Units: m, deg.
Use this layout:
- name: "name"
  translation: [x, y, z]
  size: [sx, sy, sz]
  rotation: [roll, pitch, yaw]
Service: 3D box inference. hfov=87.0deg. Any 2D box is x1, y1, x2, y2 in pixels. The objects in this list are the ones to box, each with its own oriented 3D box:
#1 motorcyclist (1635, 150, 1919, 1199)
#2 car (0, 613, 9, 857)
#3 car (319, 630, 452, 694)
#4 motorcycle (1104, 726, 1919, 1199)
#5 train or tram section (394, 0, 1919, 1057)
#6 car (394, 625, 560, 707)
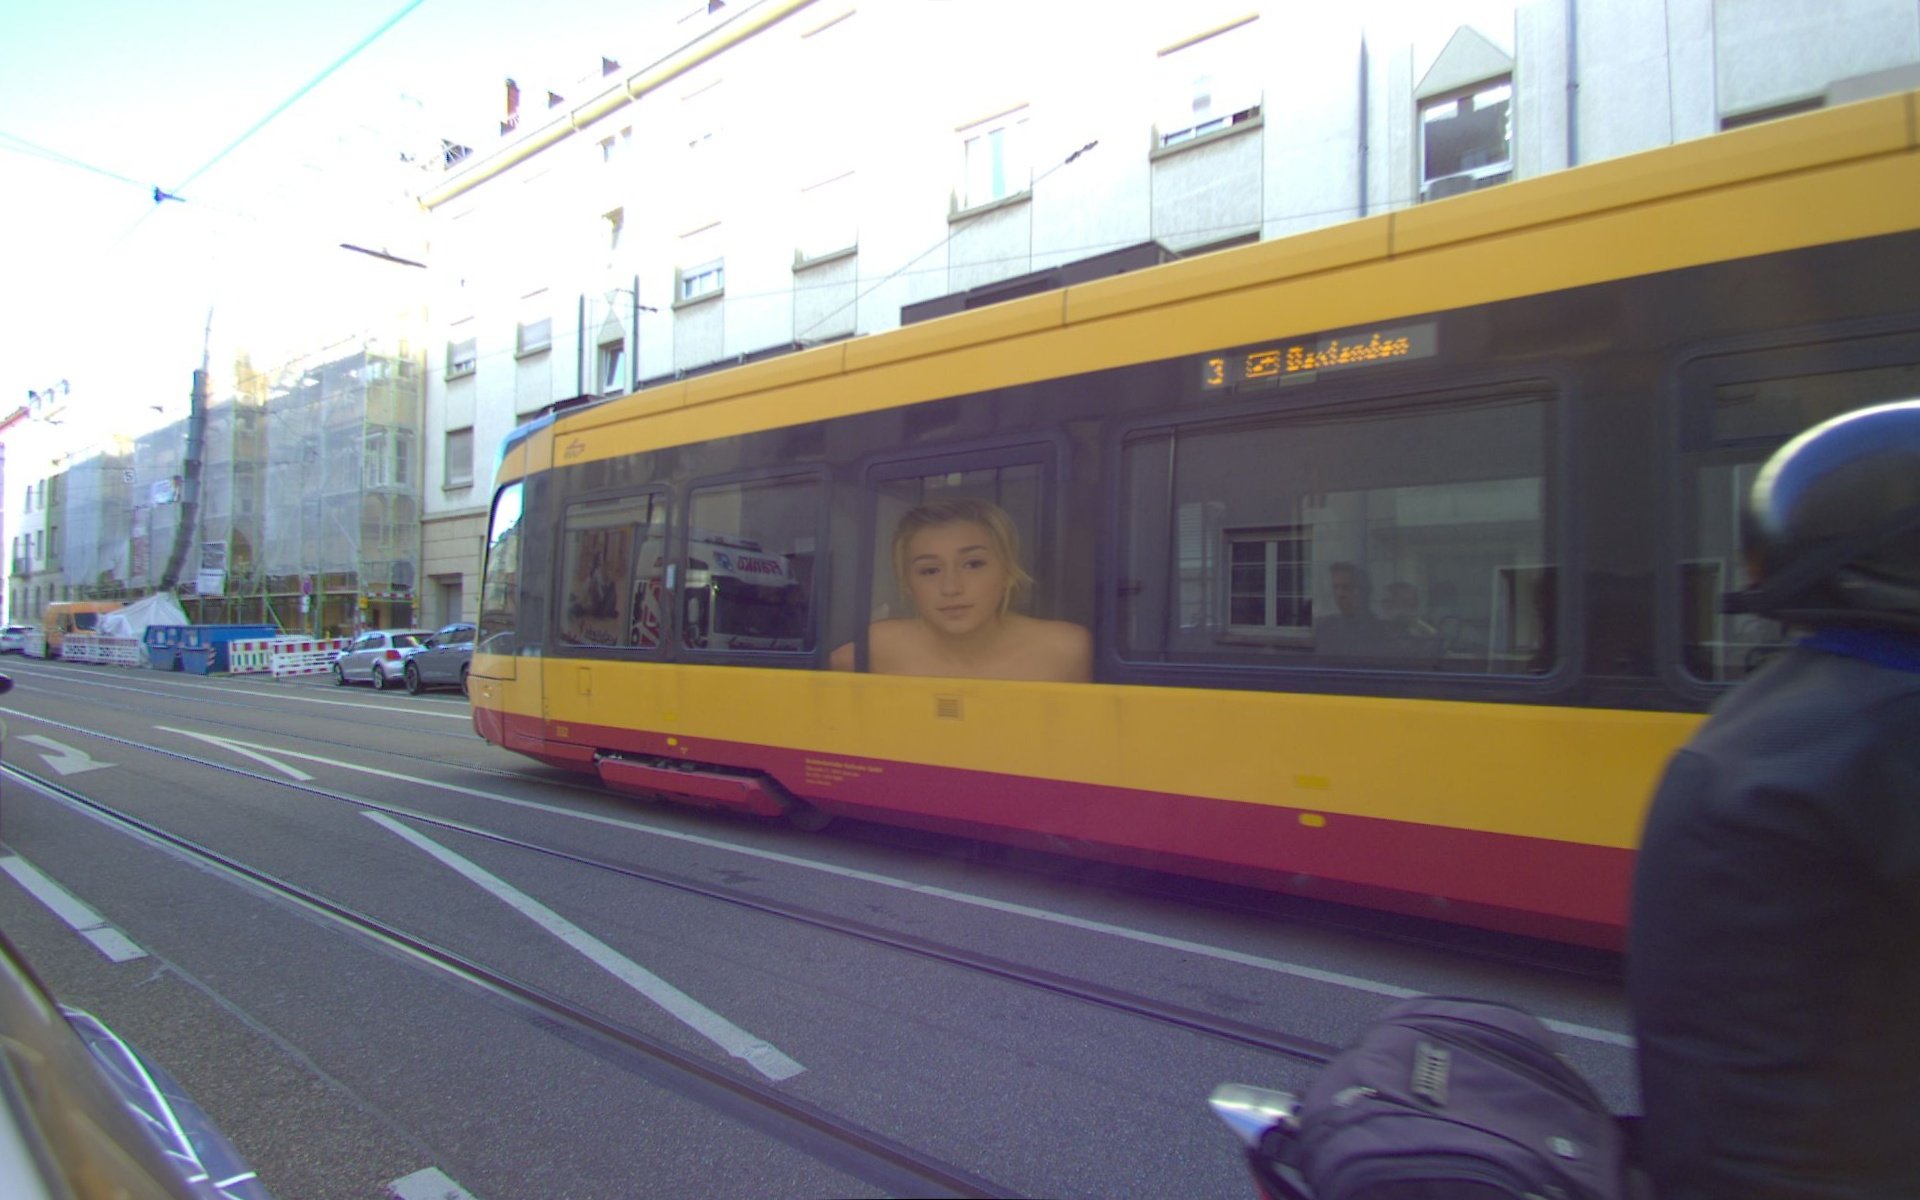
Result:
- name: "motorcyclist"
  translation: [1.055, 0.439, 0.941]
  size: [0.598, 1.516, 0.851]
  rotation: [-1, 0, 41]
- name: "car"
  translation: [-8.006, 0.857, 6.960]
  size: [3.997, 1.515, 1.670]
  rotation: [-2, -3, 40]
- name: "car"
  translation: [-14.485, 1.501, 25.455]
  size: [3.639, 1.402, 1.617]
  rotation: [-1, 0, 37]
- name: "motorcycle"
  translation: [1.099, 0.811, 0.781]
  size: [1.980, 1.228, 0.532]
  rotation: [-1, 0, 41]
- name: "train or tram section"
  translation: [0.527, -0.350, 6.851]
  size: [12.616, 3.621, 3.032]
  rotation: [-1, -3, 39]
- name: "car"
  translation: [-10.838, 1.405, 22.621]
  size: [4.108, 1.603, 1.691]
  rotation: [-1, 0, 38]
